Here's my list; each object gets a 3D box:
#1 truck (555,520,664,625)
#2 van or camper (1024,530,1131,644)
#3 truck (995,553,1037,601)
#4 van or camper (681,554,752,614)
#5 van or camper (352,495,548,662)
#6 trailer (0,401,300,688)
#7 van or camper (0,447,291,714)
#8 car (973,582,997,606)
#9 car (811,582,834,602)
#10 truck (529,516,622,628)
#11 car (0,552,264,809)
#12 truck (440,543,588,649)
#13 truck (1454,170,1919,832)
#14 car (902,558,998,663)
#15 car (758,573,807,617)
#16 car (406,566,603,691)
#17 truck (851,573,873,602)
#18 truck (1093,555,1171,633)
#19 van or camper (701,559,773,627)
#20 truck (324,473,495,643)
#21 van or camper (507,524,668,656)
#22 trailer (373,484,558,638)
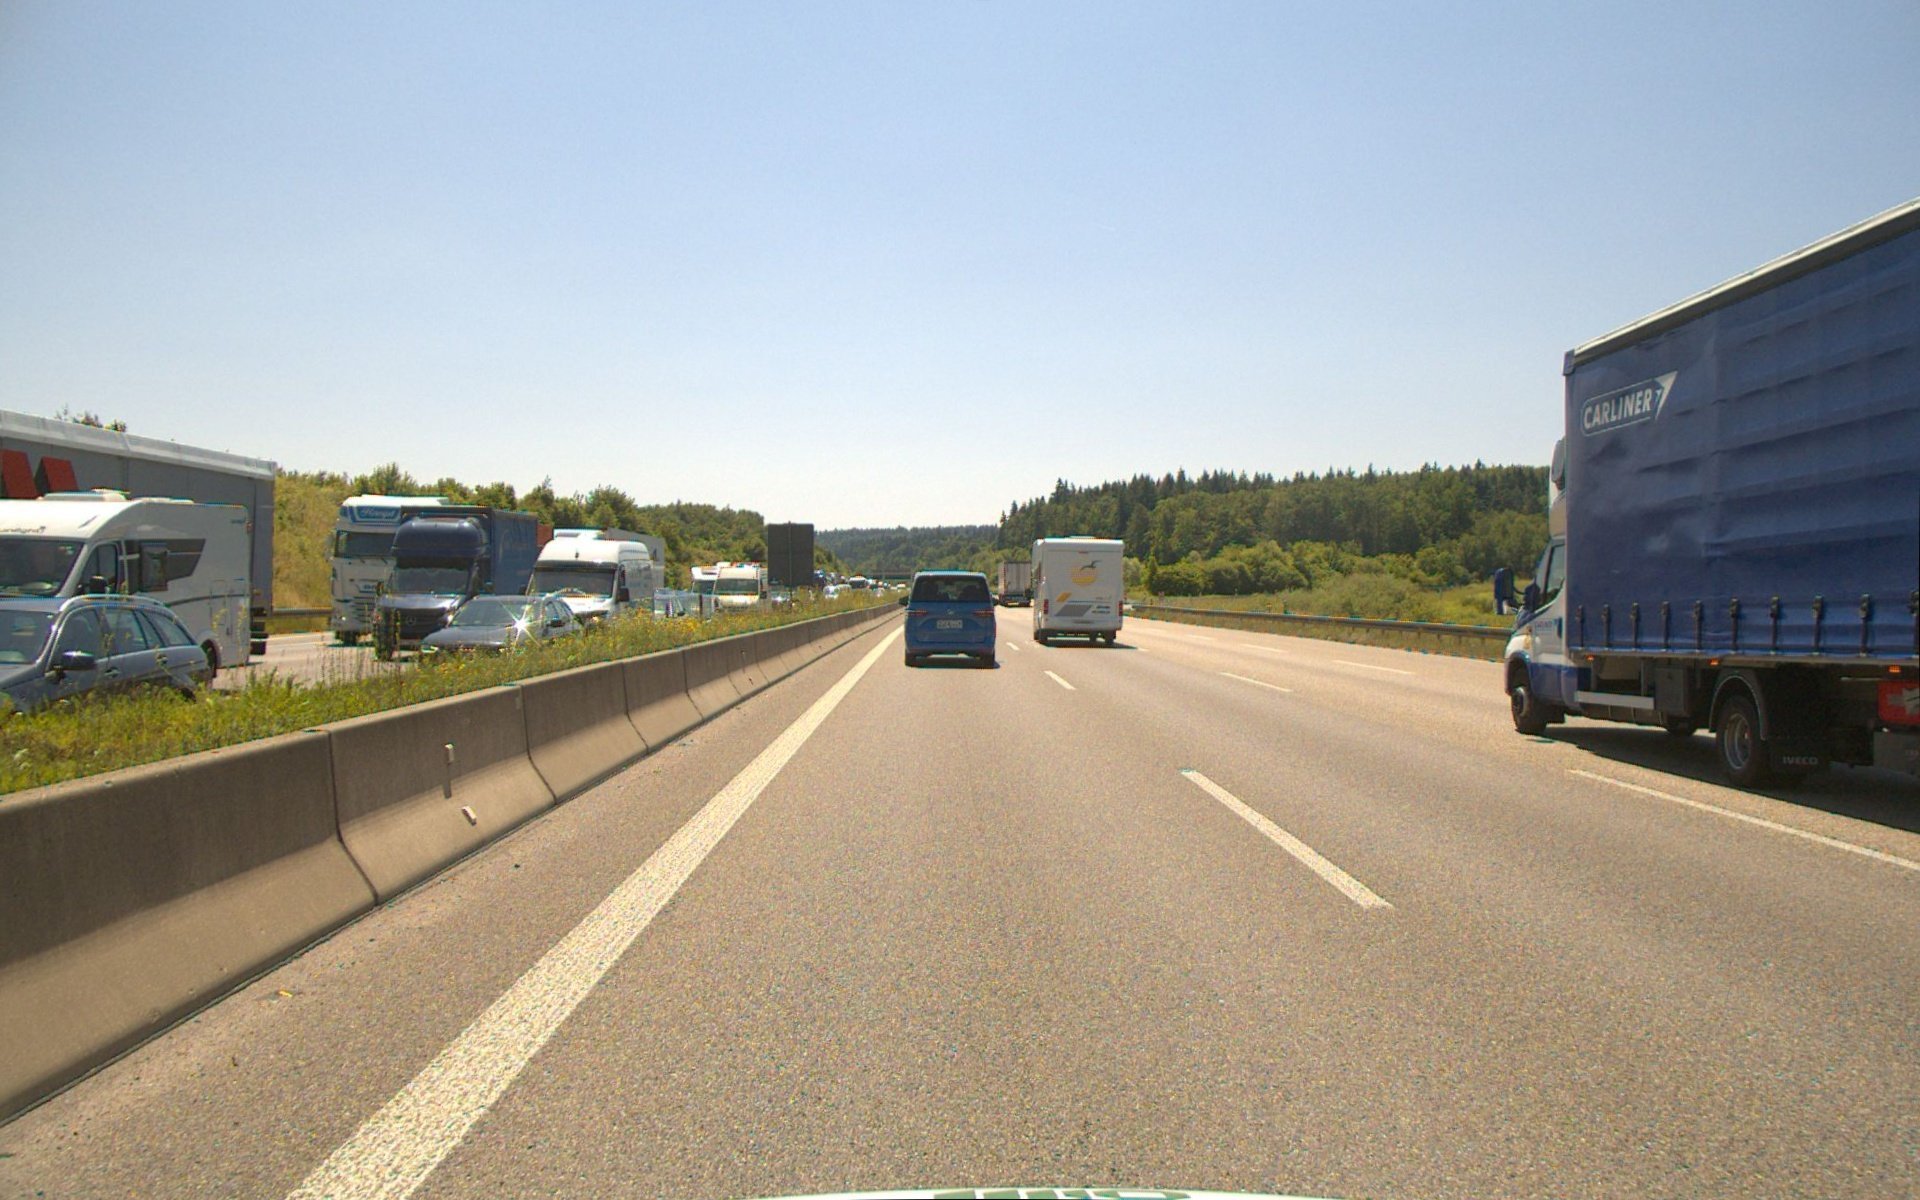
[{"bbox_3d":[-15.875,-1.148,75.916,2.469,4.401,12.419,1,0,-1],"label":"truck"},{"bbox_3d":[3.401,-0.497,49.588,2.550,3.132,7.182,1,2,-1],"label":"van or camper"},{"bbox_3d":[5.130,-2.049,153.265,3.416,4.243,8.640,1,0,-1],"label":"truck"},{"bbox_3d":[-12.708,-0.813,86.982,2.492,2.988,7.828,0,0,1],"label":"van or camper"},{"bbox_3d":[-11.468,-0.447,37.928,2.266,3.449,7.678,0,0,-1],"label":"van or camper"},{"bbox_3d":[-15.154,-0.814,28.535,2.724,4.104,12.248,1,0,-1],"label":"trailer"},{"bbox_3d":[-11.440,-0.231,22.086,2.107,2.974,7.223,1,0,-1],"label":"van or camper"},{"bbox_3d":[1.946,-0.451,131.152,1.781,1.825,3.893,1,0,-1],"label":"car"},{"bbox_3d":[-13.842,-0.752,167.110,1.982,1.992,5.093,0,0,-1],"label":"car"},{"bbox_3d":[-15.793,-1.099,68.249,2.469,4.401,5.665,1,0,0],"label":"truck"},{"bbox_3d":[-7.468,0.537,13.182,1.775,1.760,4.972,1,0,-1],"label":"car"},{"bbox_3d":[-11.622,-0.099,43.693,2.189,2.549,6.860,0,0,-1],"label":"truck"},{"bbox_3d":[7.333,-0.617,14.639,2.727,4.200,9.737,1,0,-2],"label":"truck"},{"bbox_3d":[-0.233,0.193,34.762,1.870,2.049,3.999,-1,0,-1],"label":"car"},{"bbox_3d":[-8.444,-0.232,78.871,1.953,2.049,3.999,0,0,-1],"label":"car"},{"bbox_3d":[-7.034,0.403,26.092,1.775,1.760,4.934,1,0,-1],"label":"car"},{"bbox_3d":[-13.587,-1.683,229.235,2.565,3.958,7.401,-1,0,-1],"label":"truck"},{"bbox_3d":[8.453,-0.384,82.339,2.868,3.637,8.526,-1,1,0],"label":"truck"},{"bbox_3d":[-8.741,-0.261,65.276,2.148,2.550,6.056,0,0,-1],"label":"van or camper"},{"bbox_3d":[-15.472,-1.100,47.063,2.537,4.401,7.290,1,0,-2],"label":"truck"},{"bbox_3d":[-7.887,-0.199,35.723,2.148,2.585,6.415,0,0,-1],"label":"van or camper"},{"bbox_3d":[-15.621,-1.119,53.407,2.559,4.385,11.997,1,0,-1],"label":"trailer"}]
